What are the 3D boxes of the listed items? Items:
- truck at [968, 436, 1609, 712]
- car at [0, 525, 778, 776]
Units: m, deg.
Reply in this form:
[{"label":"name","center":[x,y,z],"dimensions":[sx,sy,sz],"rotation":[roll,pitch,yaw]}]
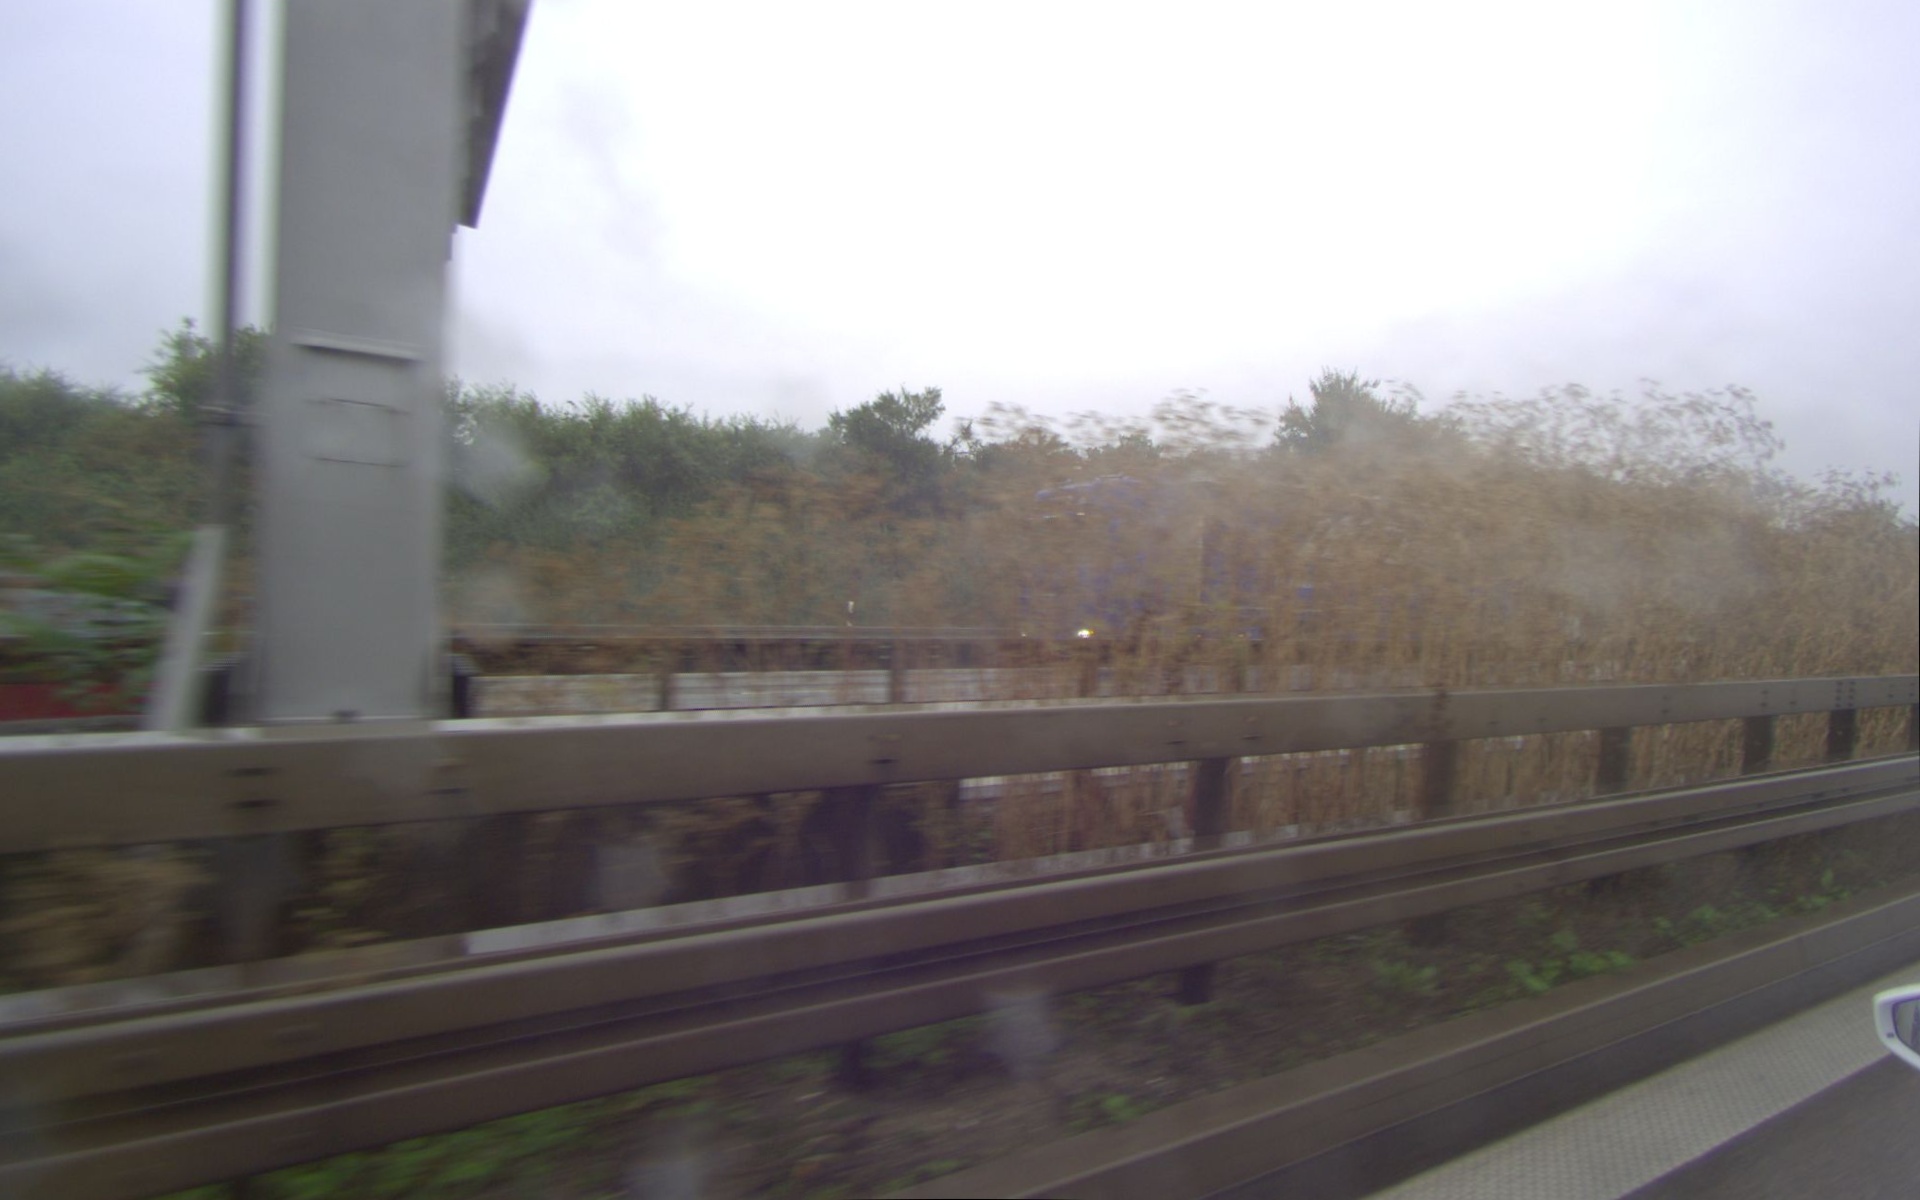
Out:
[{"label":"truck","center":[9.088,-0.485,25.242],"dimensions":[18.016,5.112,4.681],"rotation":[0,1,-31]},{"label":"car","center":[-4.138,0.335,7.921],"dimensions":[4.951,1.461,1.982],"rotation":[1,0,-32]}]
